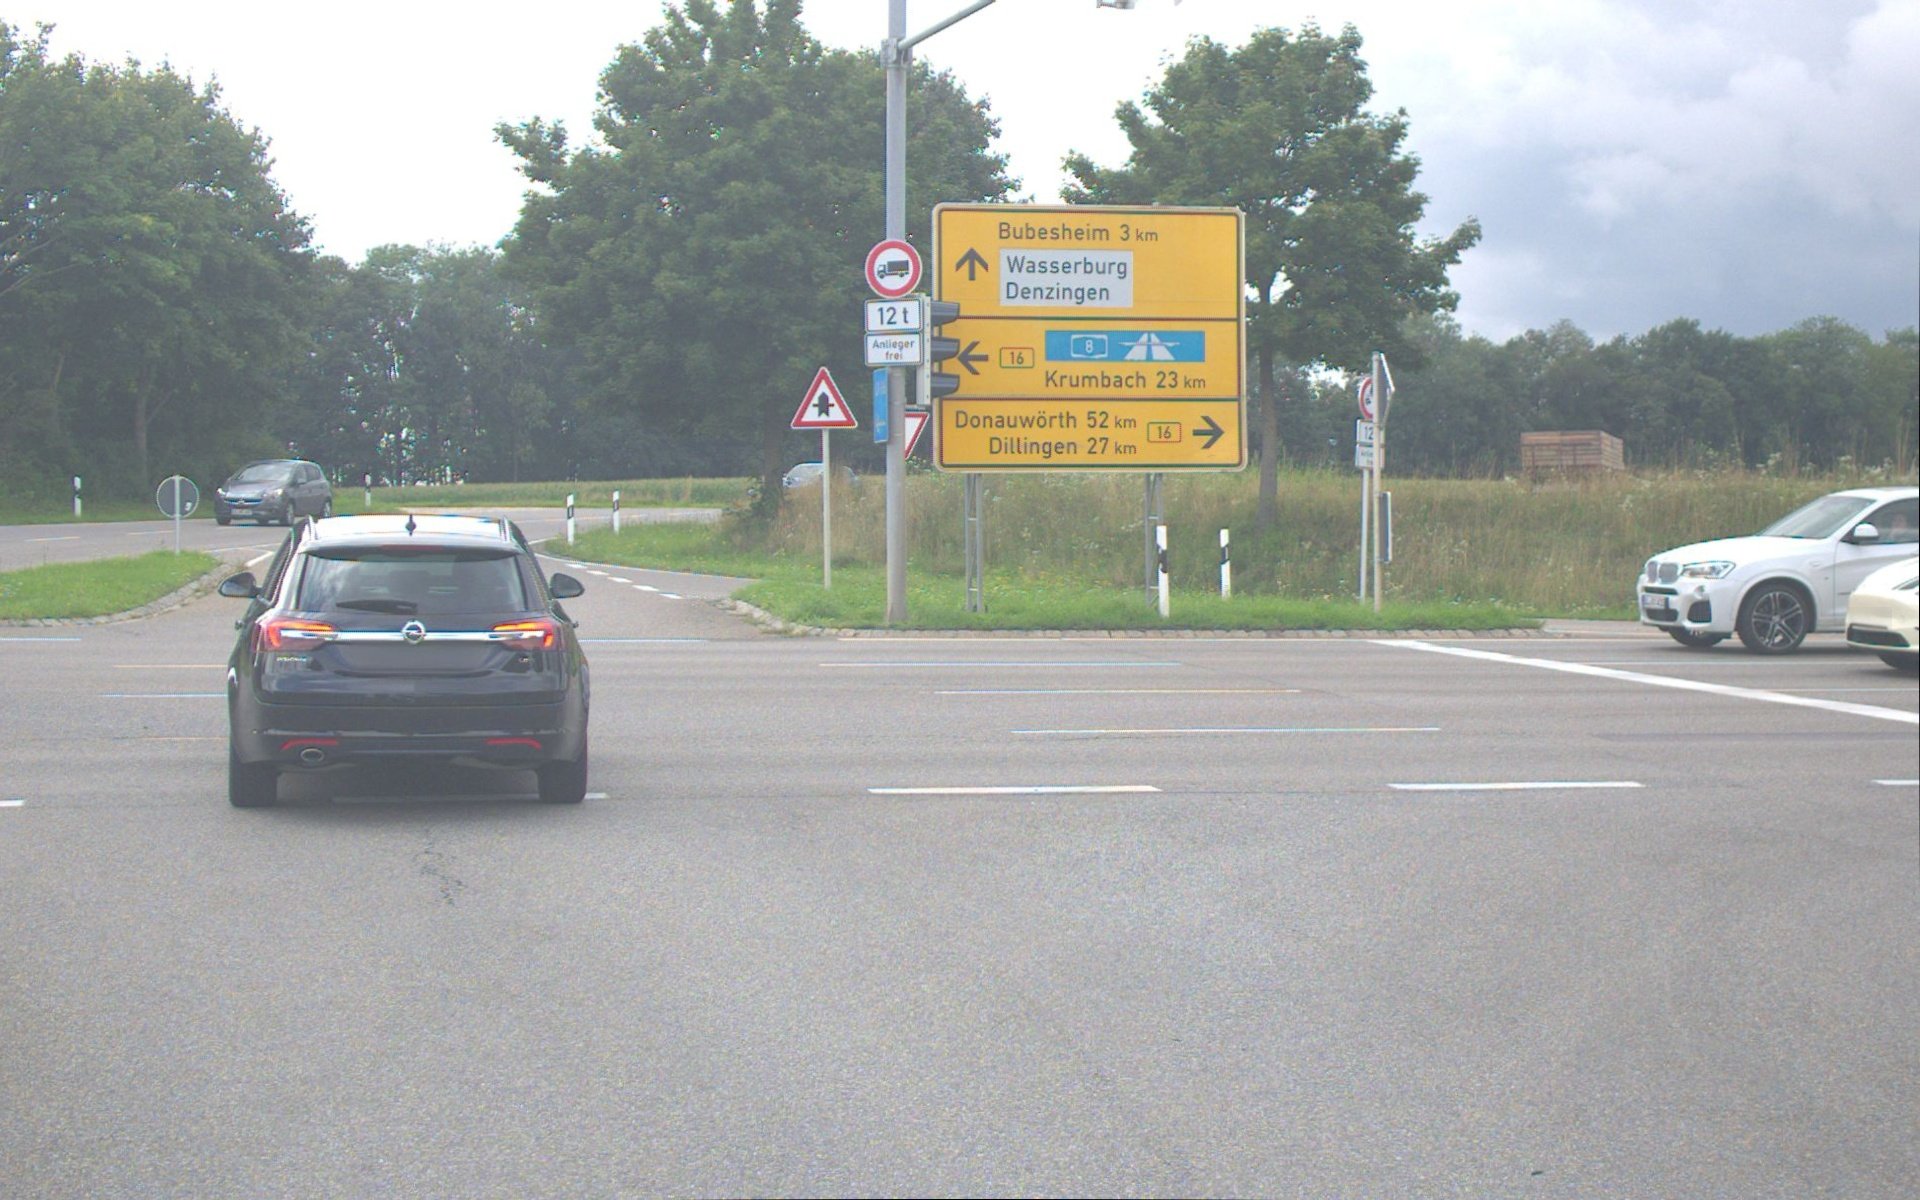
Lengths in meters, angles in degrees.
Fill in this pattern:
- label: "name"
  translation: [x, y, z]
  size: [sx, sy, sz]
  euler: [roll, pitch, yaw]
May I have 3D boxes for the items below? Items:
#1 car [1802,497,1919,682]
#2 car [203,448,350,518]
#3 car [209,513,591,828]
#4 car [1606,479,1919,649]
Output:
- label: "car"
  translation: [10.133, -0.098, 30.596]
  size: [4.731, 1.559, 2.001]
  euler: [0, 1, -14]
- label: "car"
  translation: [-15.517, -2.637, 78.253]
  size: [1.994, 1.530, 3.999]
  euler: [1, 1, 10]
- label: "car"
  translation: [-3.037, 0.289, 18.641]
  size: [1.807, 1.445, 4.274]
  euler: [0, 2, -9]
- label: "car"
  translation: [8.847, -0.357, 34.319]
  size: [4.259, 1.623, 2.001]
  euler: [0, 1, -14]
